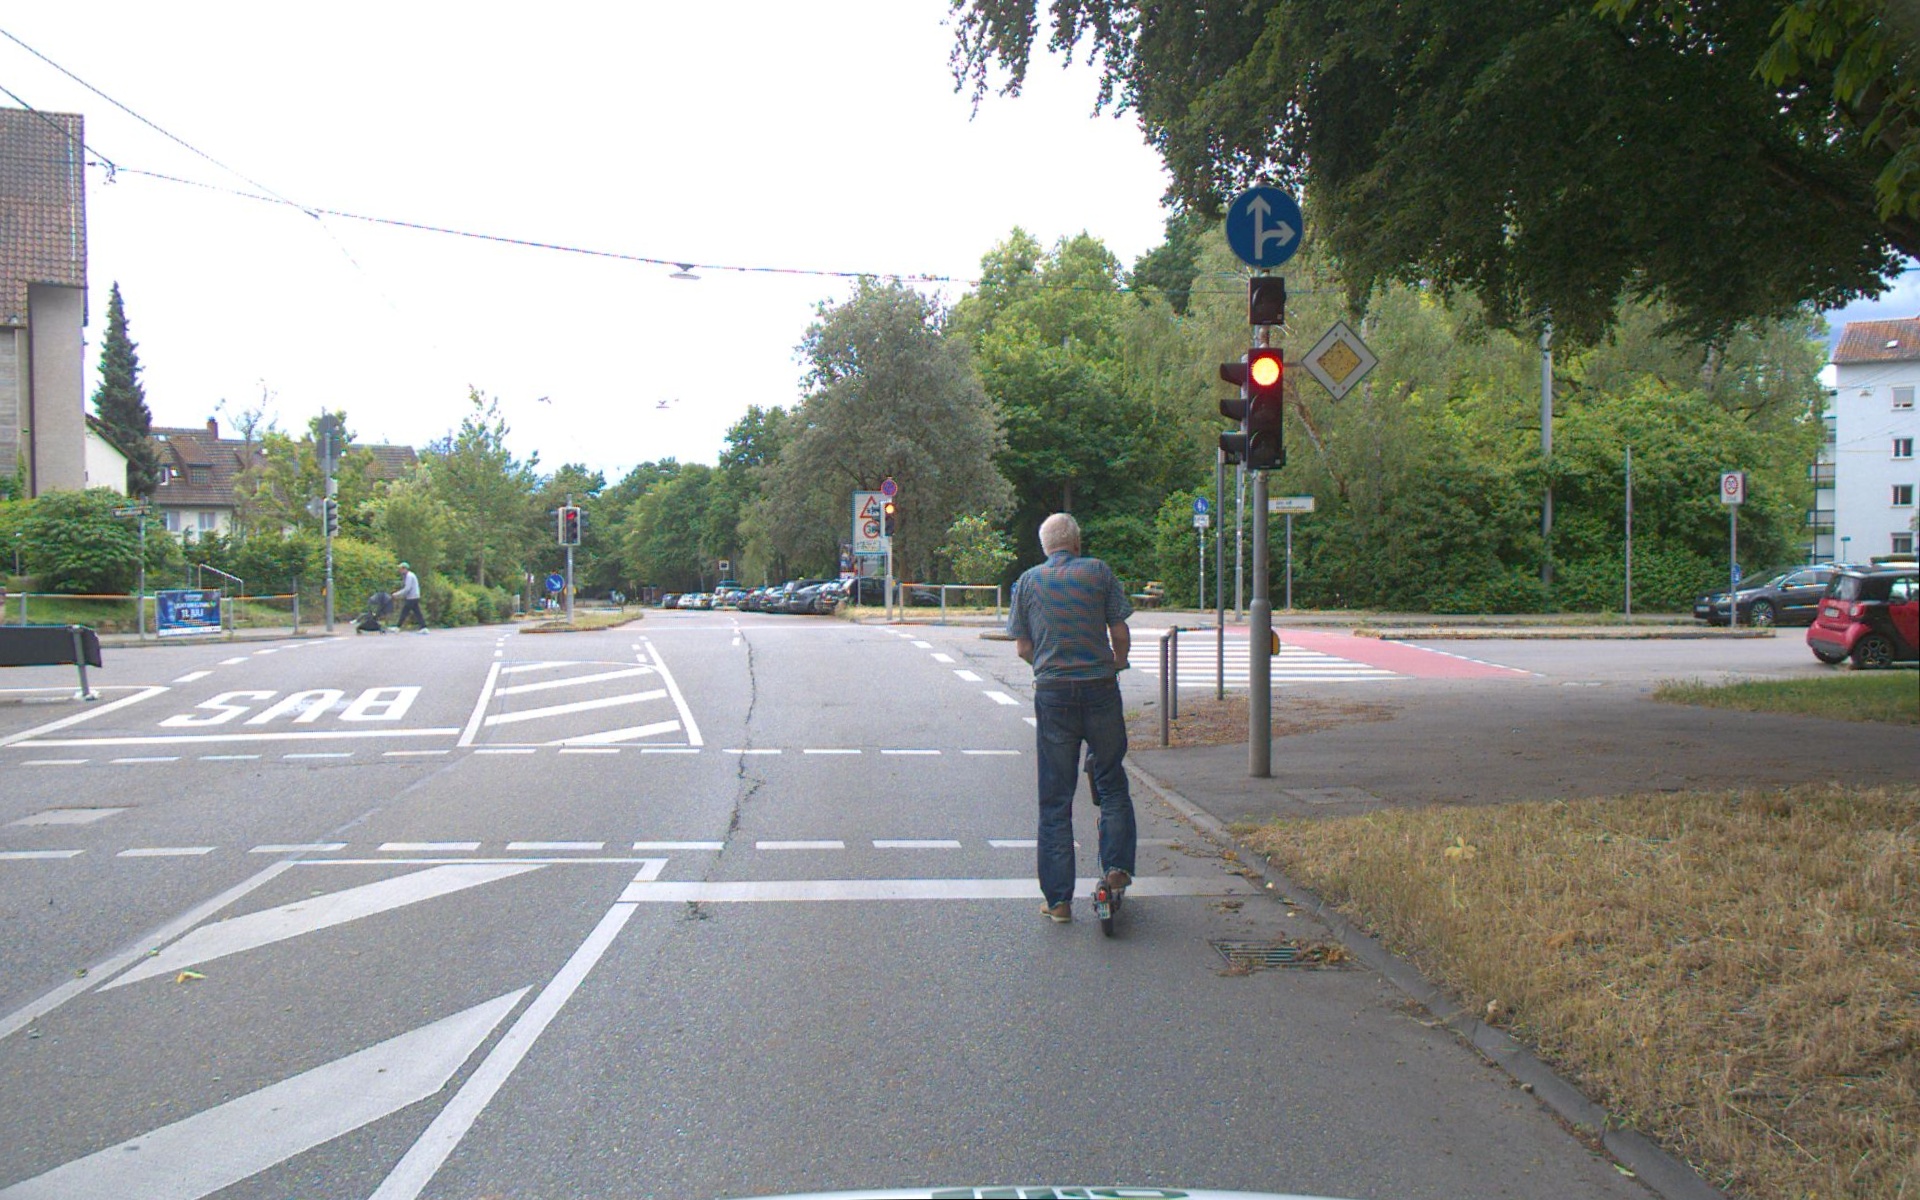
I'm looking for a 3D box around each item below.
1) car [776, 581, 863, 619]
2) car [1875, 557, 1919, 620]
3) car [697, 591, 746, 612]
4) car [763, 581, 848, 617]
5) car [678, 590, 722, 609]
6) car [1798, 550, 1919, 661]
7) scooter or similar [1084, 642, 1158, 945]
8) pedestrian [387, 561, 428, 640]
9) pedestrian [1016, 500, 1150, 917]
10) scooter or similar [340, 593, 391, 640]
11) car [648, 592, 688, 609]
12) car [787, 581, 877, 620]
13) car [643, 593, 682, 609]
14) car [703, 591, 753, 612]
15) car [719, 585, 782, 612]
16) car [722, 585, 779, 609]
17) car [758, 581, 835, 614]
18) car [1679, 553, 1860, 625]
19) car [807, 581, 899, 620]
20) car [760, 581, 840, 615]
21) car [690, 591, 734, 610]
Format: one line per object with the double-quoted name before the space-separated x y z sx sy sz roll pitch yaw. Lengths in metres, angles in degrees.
"car" -6.720 -0.011 79.195 3.790 1.639 1.716 -2 1 -24
"car" 26.406 -0.340 45.813 1.689 1.639 3.850 -1 1 27
"car" -20.545 0.095 142.449 3.790 1.639 1.716 -2 1 -24
"car" -7.572 -0.064 81.217 3.790 1.639 1.716 -2 1 -24
"car" -24.806 -0.072 157.950 3.790 1.639 1.716 -2 1 -24
"car" 15.256 0.042 25.832 3.444 1.639 1.729 -2 1 4
"scooter or similar" 0.731 0.811 7.390 0.276 1.199 1.178 -1 1 7
"pedestrian" -13.350 0.005 39.946 0.869 1.895 0.572 -1 0 -15
"pedestrian" 0.570 0.480 7.563 0.560 1.845 0.421 -1 0 7
"scooter or similar" -14.246 0.398 39.676 1.089 1.100 0.575 -1 0 -16
"car" -30.914 0.025 175.160 3.790 1.639 1.716 -2 1 -24
"car" -5.927 0.008 76.665 3.792 1.639 1.715 -2 1 -25
"car" -31.922 0.084 177.482 3.790 1.639 1.716 -2 1 -24
"car" -19.451 0.127 138.790 3.790 1.639 1.716 -2 1 -24
"car" -13.775 -0.083 108.712 3.790 1.639 1.716 -2 1 -24
"car" -15.431 -0.219 121.655 3.790 1.639 1.716 -2 1 -24
"car" -8.799 -0.140 88.924 3.790 1.639 1.716 -2 1 -24
"car" 19.154 -0.267 39.233 3.444 1.557 1.729 -2 1 5
"car" -4.842 0.014 74.711 3.787 1.639 1.717 -2 1 -22
"car" -8.360 -0.127 86.519 3.790 1.639 1.716 -2 1 -24
"car" -23.052 0.020 153.716 3.790 1.639 1.716 -2 1 -24
